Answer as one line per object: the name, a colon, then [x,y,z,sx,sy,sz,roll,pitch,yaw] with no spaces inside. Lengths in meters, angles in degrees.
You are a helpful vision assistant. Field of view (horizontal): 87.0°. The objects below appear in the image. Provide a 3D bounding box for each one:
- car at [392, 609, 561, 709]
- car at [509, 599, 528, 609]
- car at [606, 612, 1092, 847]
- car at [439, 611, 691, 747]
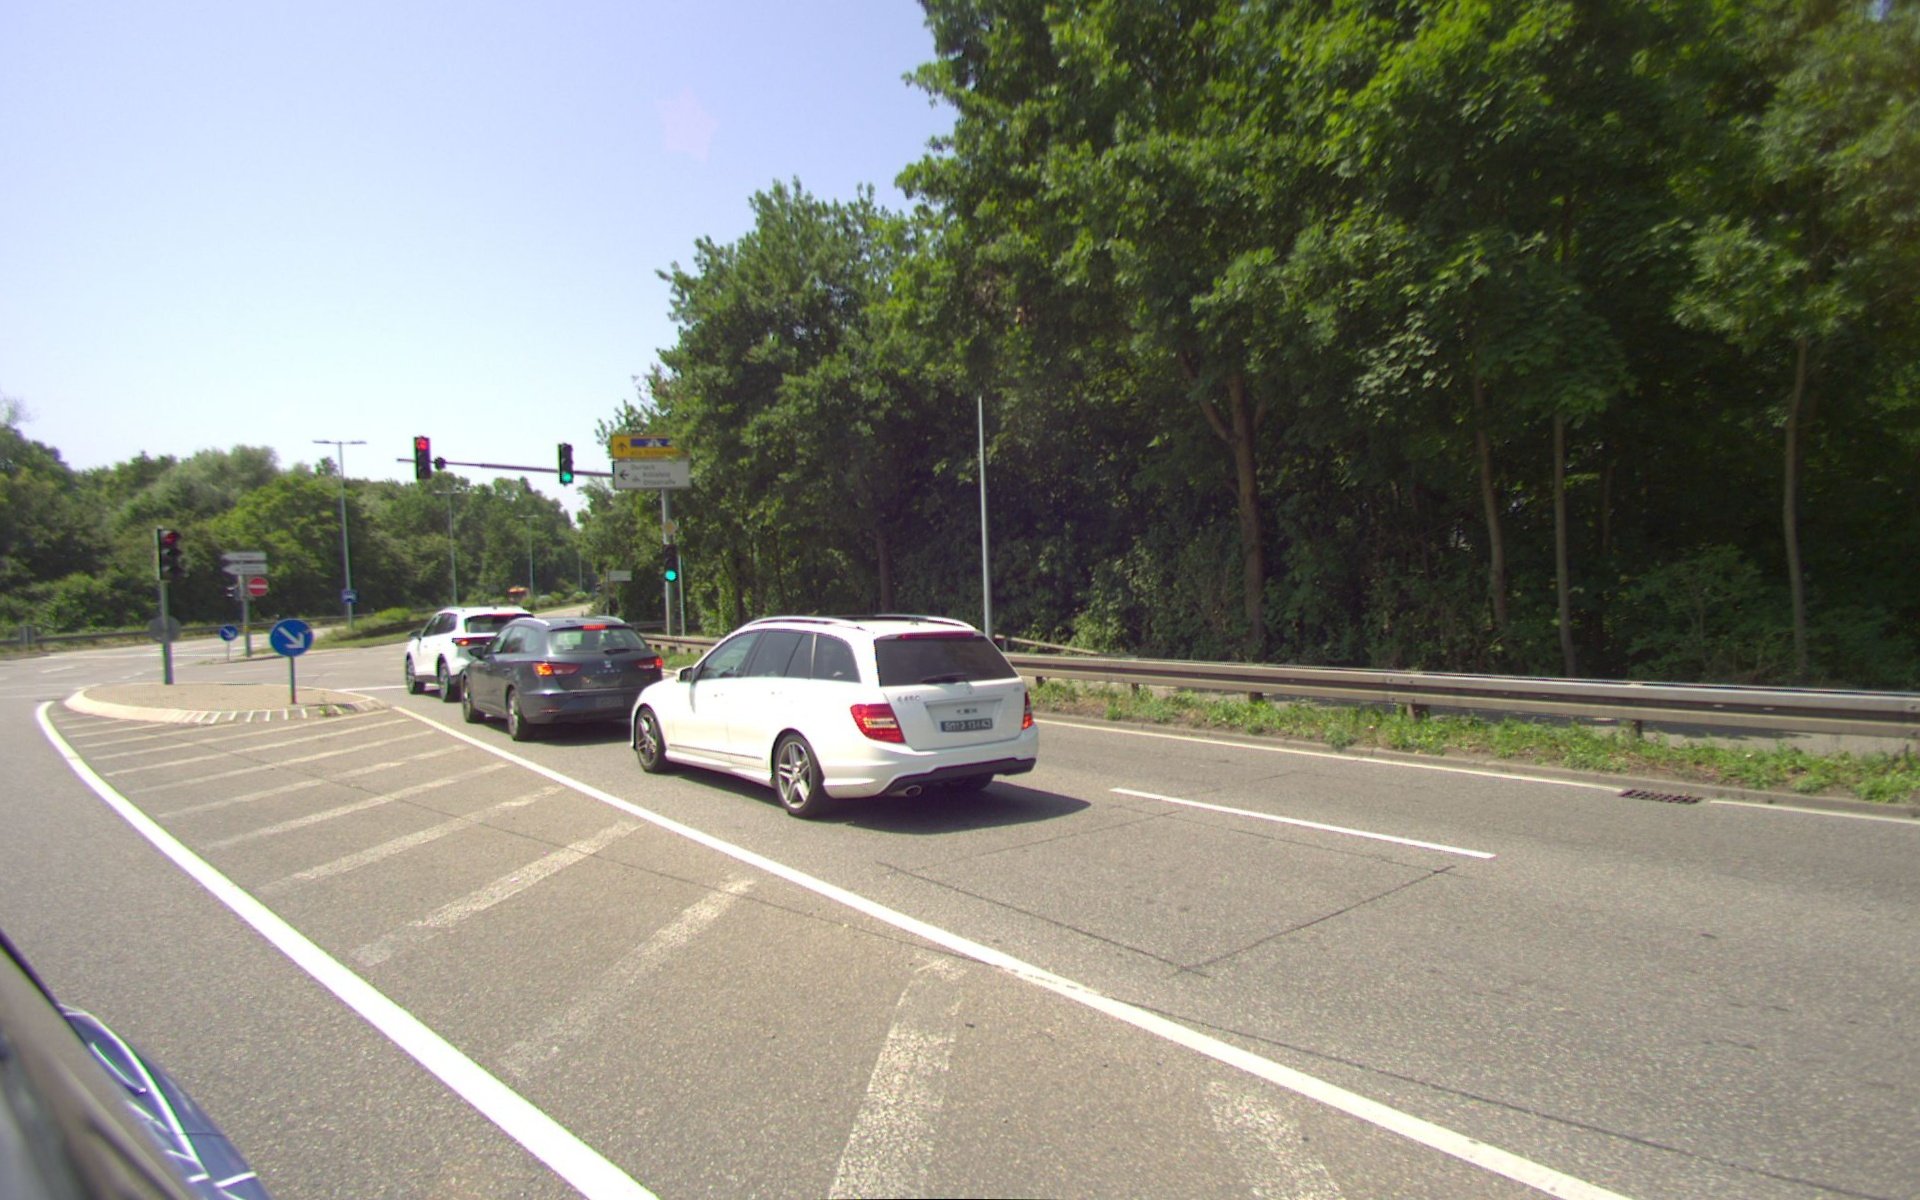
car: [-9.241,1.028,19.138,1.805,1.651,4.586,0,-1,-40]
car: [-64.425,0.547,147.717,1.817,1.441,3.585,-2,0,-10]
car: [-1.273,0.842,8.610,1.804,1.417,4.897,1,-2,-38]
car: [-5.298,0.897,13.185,1.804,1.417,4.555,-1,-1,-38]
